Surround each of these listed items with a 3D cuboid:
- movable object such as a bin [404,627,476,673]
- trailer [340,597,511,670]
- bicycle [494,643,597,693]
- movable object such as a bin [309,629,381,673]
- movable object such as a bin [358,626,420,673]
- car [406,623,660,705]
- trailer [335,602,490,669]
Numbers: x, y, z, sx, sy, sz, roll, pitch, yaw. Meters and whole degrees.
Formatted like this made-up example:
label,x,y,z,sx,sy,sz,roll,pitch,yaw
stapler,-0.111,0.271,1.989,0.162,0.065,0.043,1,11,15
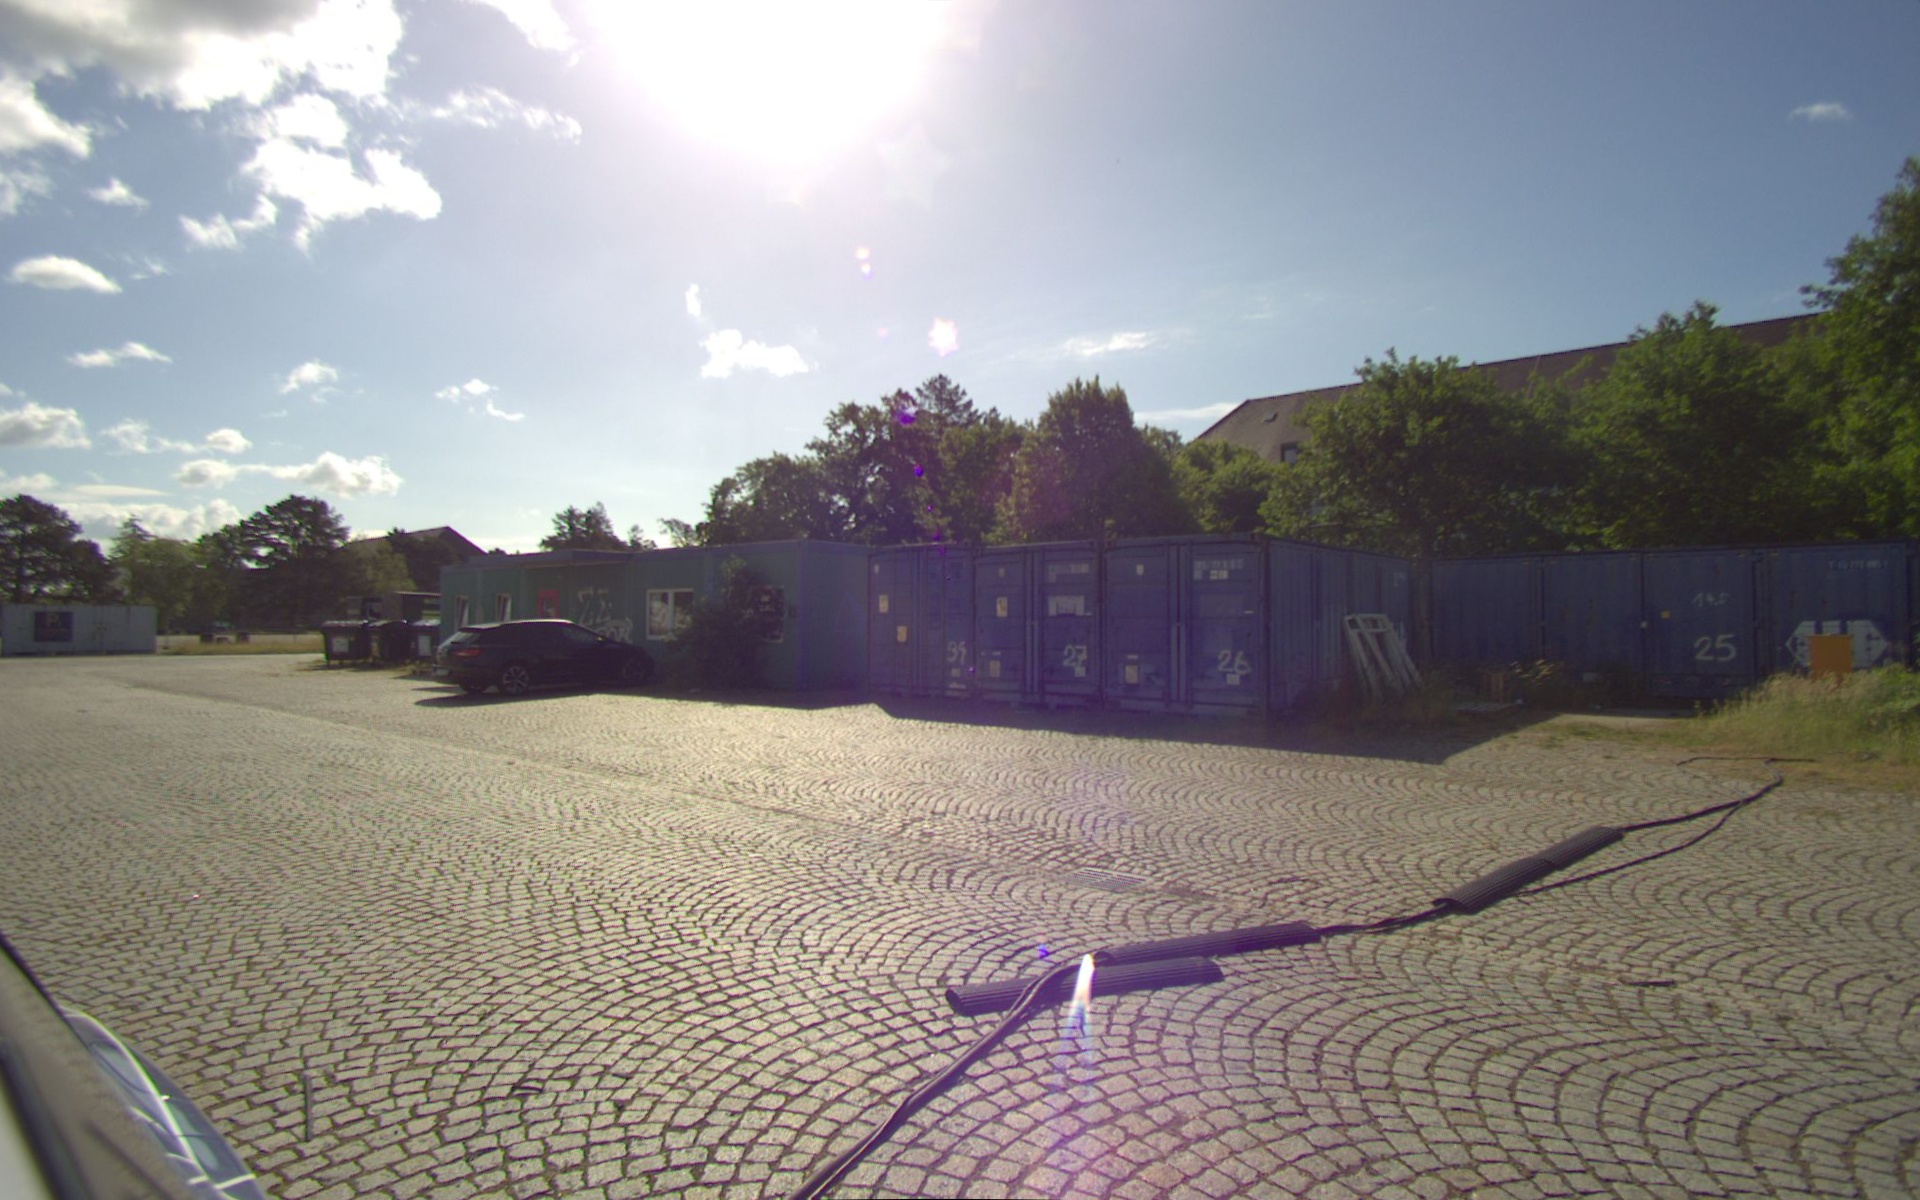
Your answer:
label,x,y,z,sx,sy,sz,roll,pitch,yaw
movable object such as a bin,-16.040,1.520,31.216,1.529,1.397,1.372,-1,-2,29
trailer,-18.680,1.157,35.589,2.092,2.373,4.912,-1,-2,37
bicycle,-9.171,1.485,22.455,1.037,1.035,1.856,-2,-2,39
movable object such as a bin,-19.807,1.634,32.644,1.513,1.397,1.387,0,-2,-3
movable object such as a bin,-17.847,1.535,31.640,1.536,1.433,1.282,-2,-2,43
car,-8.570,1.216,20.640,1.997,1.475,4.372,-2,-2,38
trailer,-20.243,1.293,37.577,2.137,2.315,4.605,-2,-2,42
